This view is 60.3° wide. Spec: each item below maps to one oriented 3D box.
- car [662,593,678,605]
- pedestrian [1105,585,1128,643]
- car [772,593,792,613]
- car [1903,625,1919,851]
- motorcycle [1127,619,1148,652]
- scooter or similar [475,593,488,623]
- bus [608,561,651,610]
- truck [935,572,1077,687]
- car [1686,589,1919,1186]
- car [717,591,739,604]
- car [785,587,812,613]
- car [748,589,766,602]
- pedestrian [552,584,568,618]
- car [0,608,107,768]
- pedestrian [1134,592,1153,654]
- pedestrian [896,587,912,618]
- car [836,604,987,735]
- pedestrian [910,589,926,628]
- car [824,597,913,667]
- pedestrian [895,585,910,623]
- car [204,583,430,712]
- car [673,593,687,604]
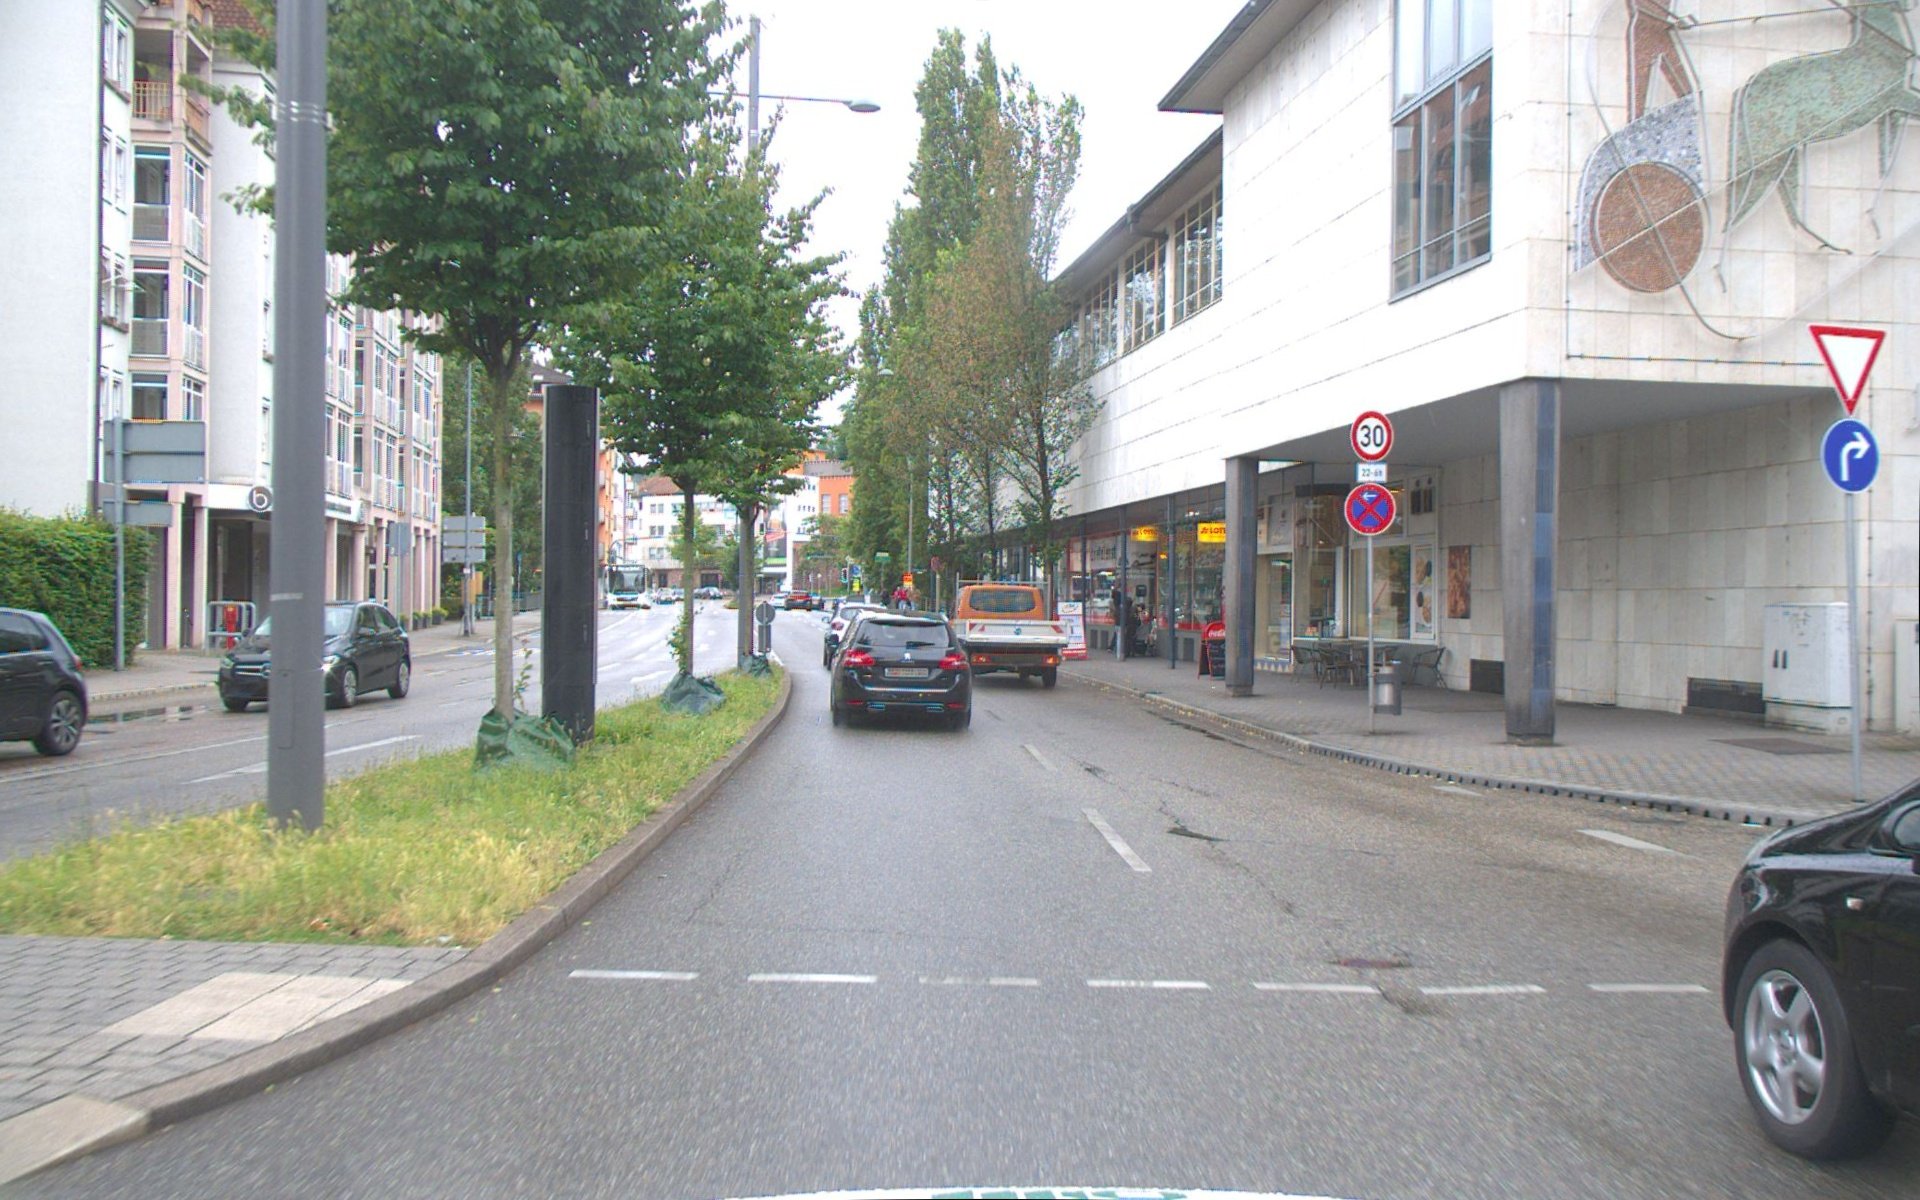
[{"bbox_3d":[-35.647,-0.130,203.476,1.758,1.348,4.397,0,0,-9],"label":"car"},{"bbox_3d":[4.321,0.377,45.660,0.422,1.594,0.507,0,0,37],"label":"pedestrian"},{"bbox_3d":[-16.831,0.286,156.116,1.614,1.591,3.592,3,-3,-8],"label":"car"},{"bbox_3d":[8.097,0.951,10.006,3.906,1.503,1.999,1,-1,23],"label":"car"},{"bbox_3d":[4.619,0.922,42.976,0.318,0.818,0.918,0,1,-8],"label":"motorcycle"},{"bbox_3d":[-22.493,0.370,77.743,0.473,1.336,1.567,0,2,-12],"label":"scooter or similar"},{"bbox_3d":[-22.909,-1.114,115.070,2.694,3.129,12.209,1,2,-10],"label":"bus"},{"bbox_3d":[0.819,0.575,33.016,2.082,2.061,4.707,2,-1,-7],"label":"truck"},{"bbox_3d":[3.281,0.747,3.467,1.674,1.482,3.740,2,0,-3],"label":"car"},{"bbox_3d":[-31.250,-0.377,222.770,1.629,1.591,3.559,5,-3,-33],"label":"car"},{"bbox_3d":[-11.325,0.003,115.771,1.614,1.591,3.592,3,-3,-8],"label":"car"},{"bbox_3d":[-26.059,-0.584,211.959,1.958,1.713,3.988,0,0,-12],"label":"car"},{"bbox_3d":[-21.912,0.077,90.642,0.684,1.825,0.957,1,-1,-6],"label":"pedestrian"},{"bbox_3d":[-9.535,0.811,14.673,1.721,1.445,4.097,-1,-1,1],"label":"car"},{"bbox_3d":[4.763,0.597,42.843,0.380,1.594,0.429,0,0,-11],"label":"pedestrian"},{"bbox_3d":[-2.950,0.116,87.155,0.712,1.617,0.605,-1,0,-9],"label":"pedestrian"},{"bbox_3d":[-0.636,0.860,21.917,1.759,1.509,3.998,2,-1,-2],"label":"car"},{"bbox_3d":[-2.014,0.411,79.954,0.685,1.833,0.605,-1,0,-9],"label":"pedestrian"},{"bbox_3d":[-2.147,0.692,37.915,1.761,1.509,3.994,0,0,-7],"label":"car"},{"bbox_3d":[-2.784,0.190,79.897,0.641,1.798,0.921,-1,0,-9],"label":"pedestrian"},{"bbox_3d":[-9.696,0.667,25.330,1.790,1.766,4.258,-1,0,0],"label":"car"},{"bbox_3d":[-35.748,-0.194,211.144,1.759,1.348,4.395,0,0,-11],"label":"car"}]
